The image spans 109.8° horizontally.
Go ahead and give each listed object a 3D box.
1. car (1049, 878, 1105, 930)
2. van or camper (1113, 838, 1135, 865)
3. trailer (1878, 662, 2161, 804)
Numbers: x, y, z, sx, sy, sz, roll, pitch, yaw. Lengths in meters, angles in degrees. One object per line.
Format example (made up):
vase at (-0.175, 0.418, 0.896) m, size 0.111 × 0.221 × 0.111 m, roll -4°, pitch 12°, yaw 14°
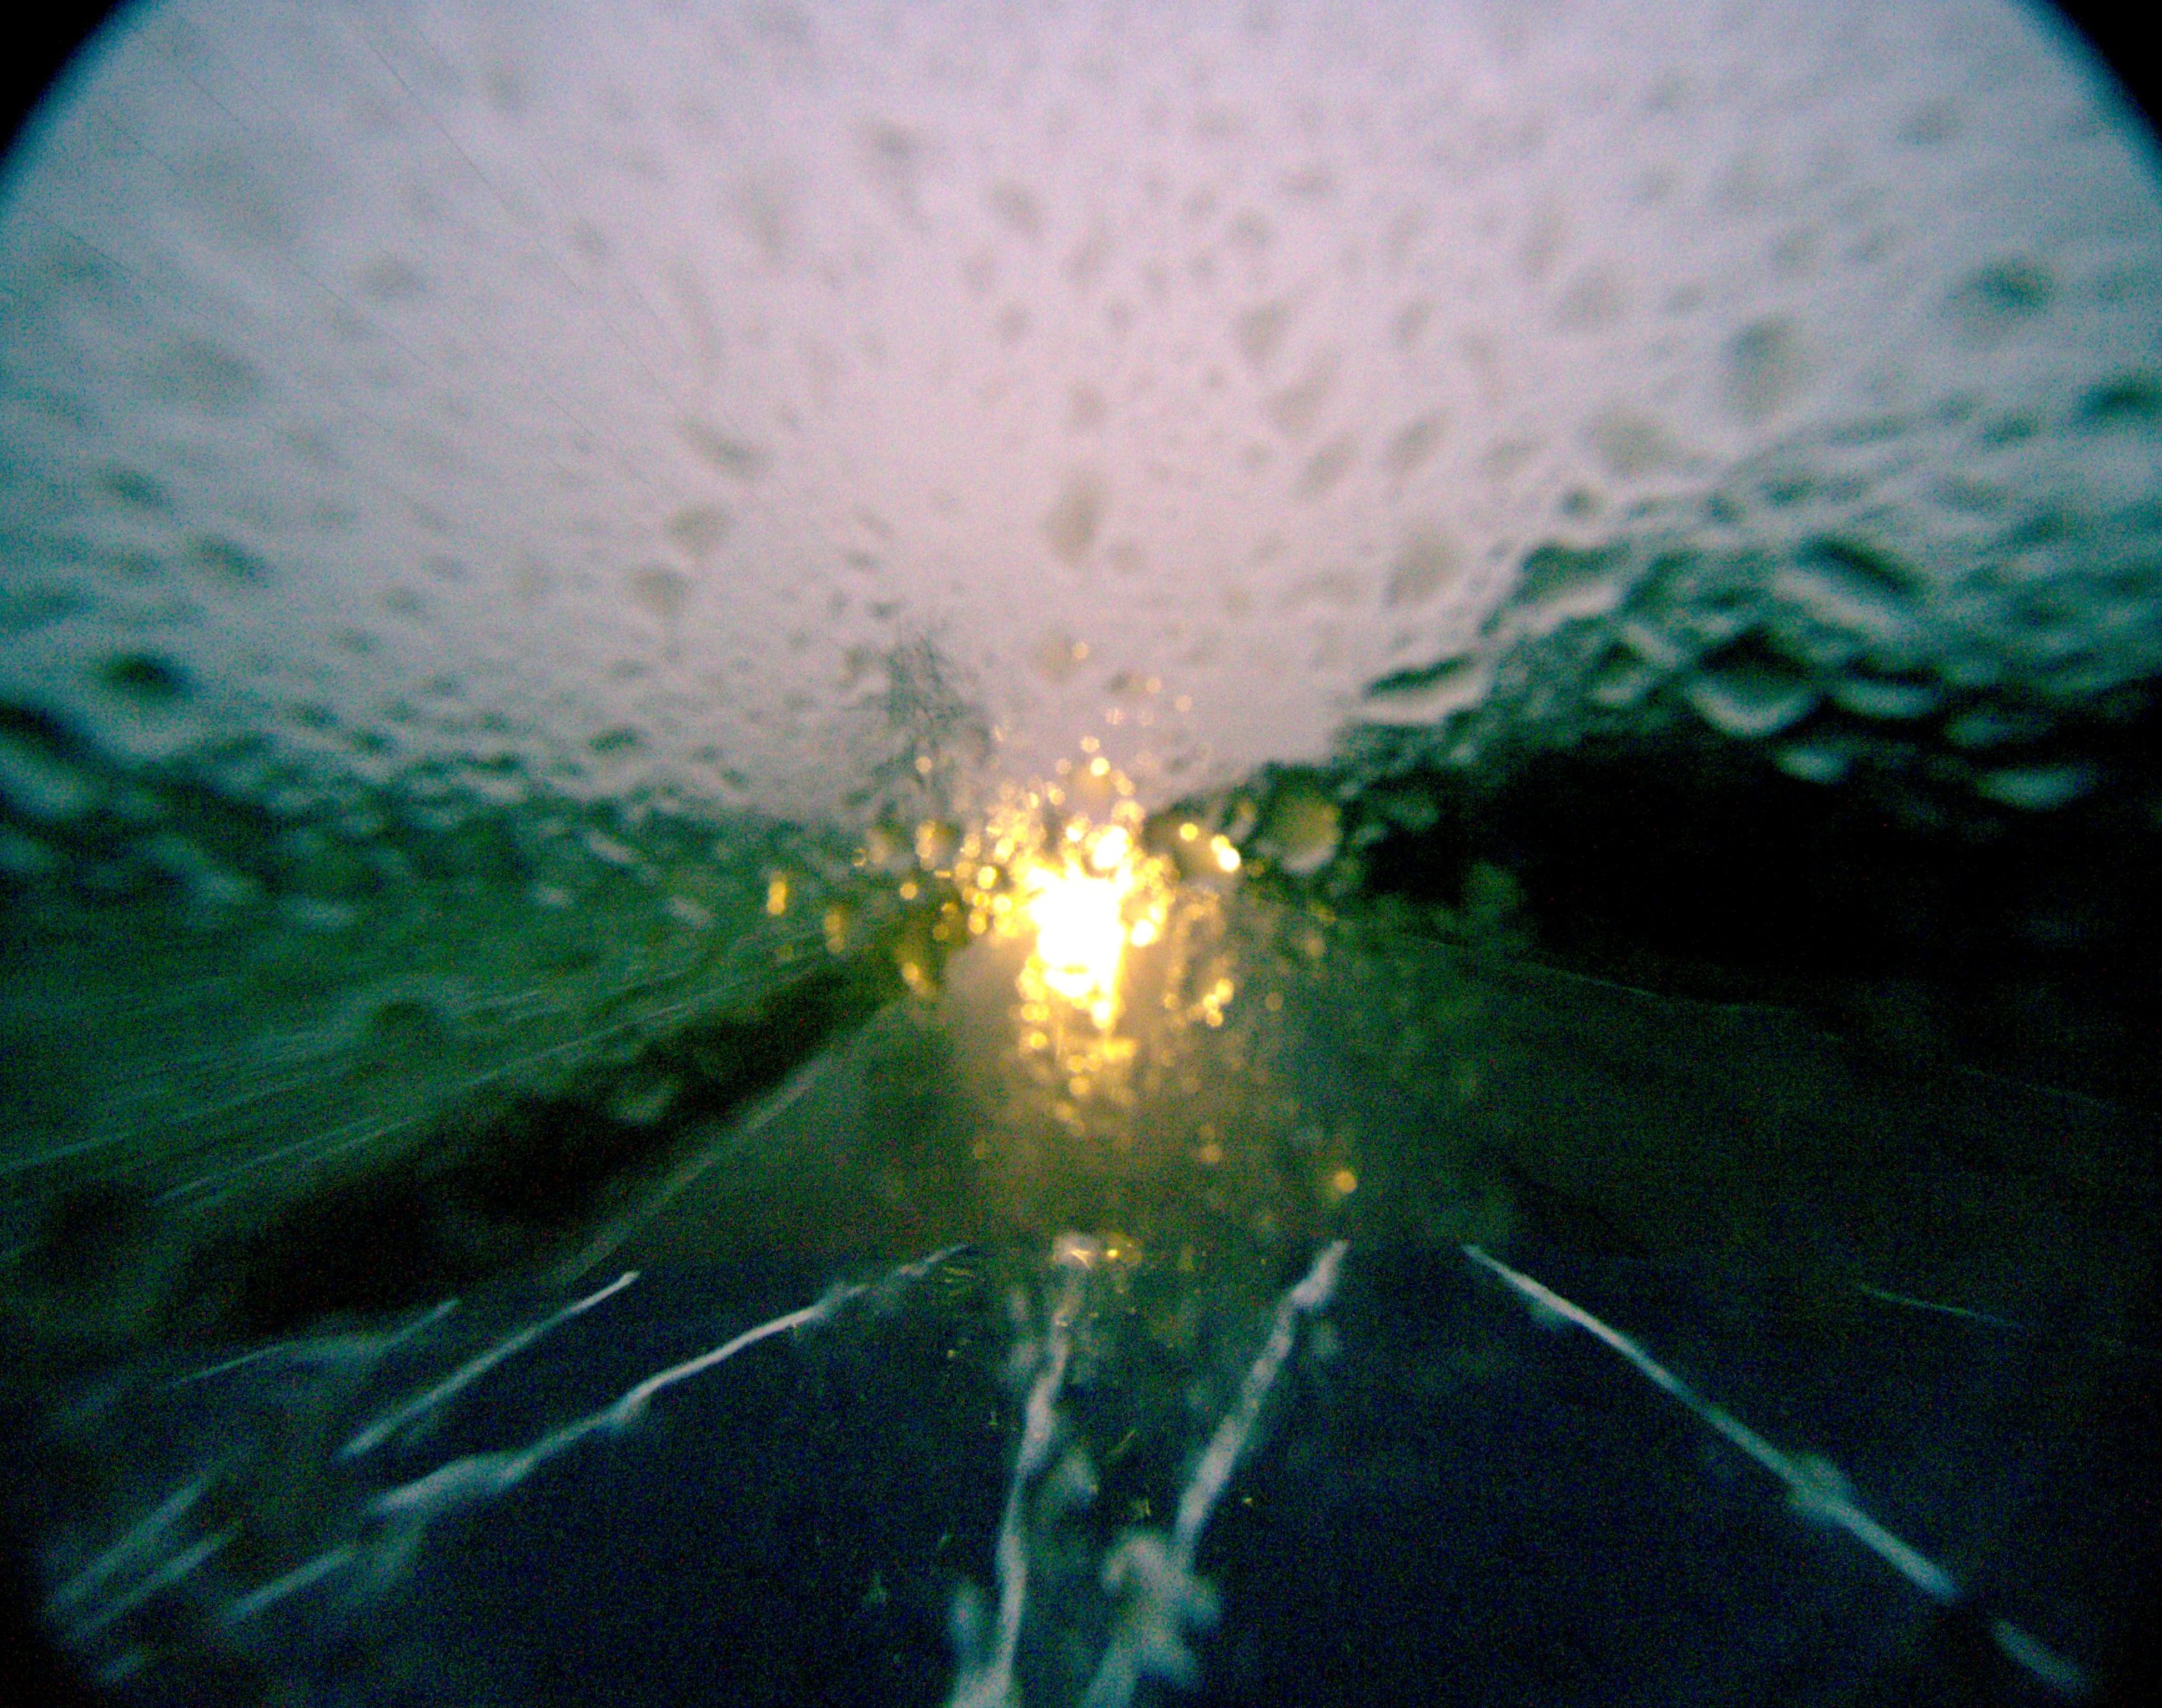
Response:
car at (-0.057, 1.773, 28.048) m, size 1.910 × 1.653 × 4.000 m, roll 0°, pitch 0°, yaw 2°
van or camper at (4.547, -0.288, 81.040) m, size 2.026 × 2.760 × 6.743 m, roll -1°, pitch 0°, yaw 1°
trailer at (25.998, -2.986, 18.117) m, size 2.442 × 2.874 × 11.084 m, roll -1°, pitch 0°, yaw 0°
